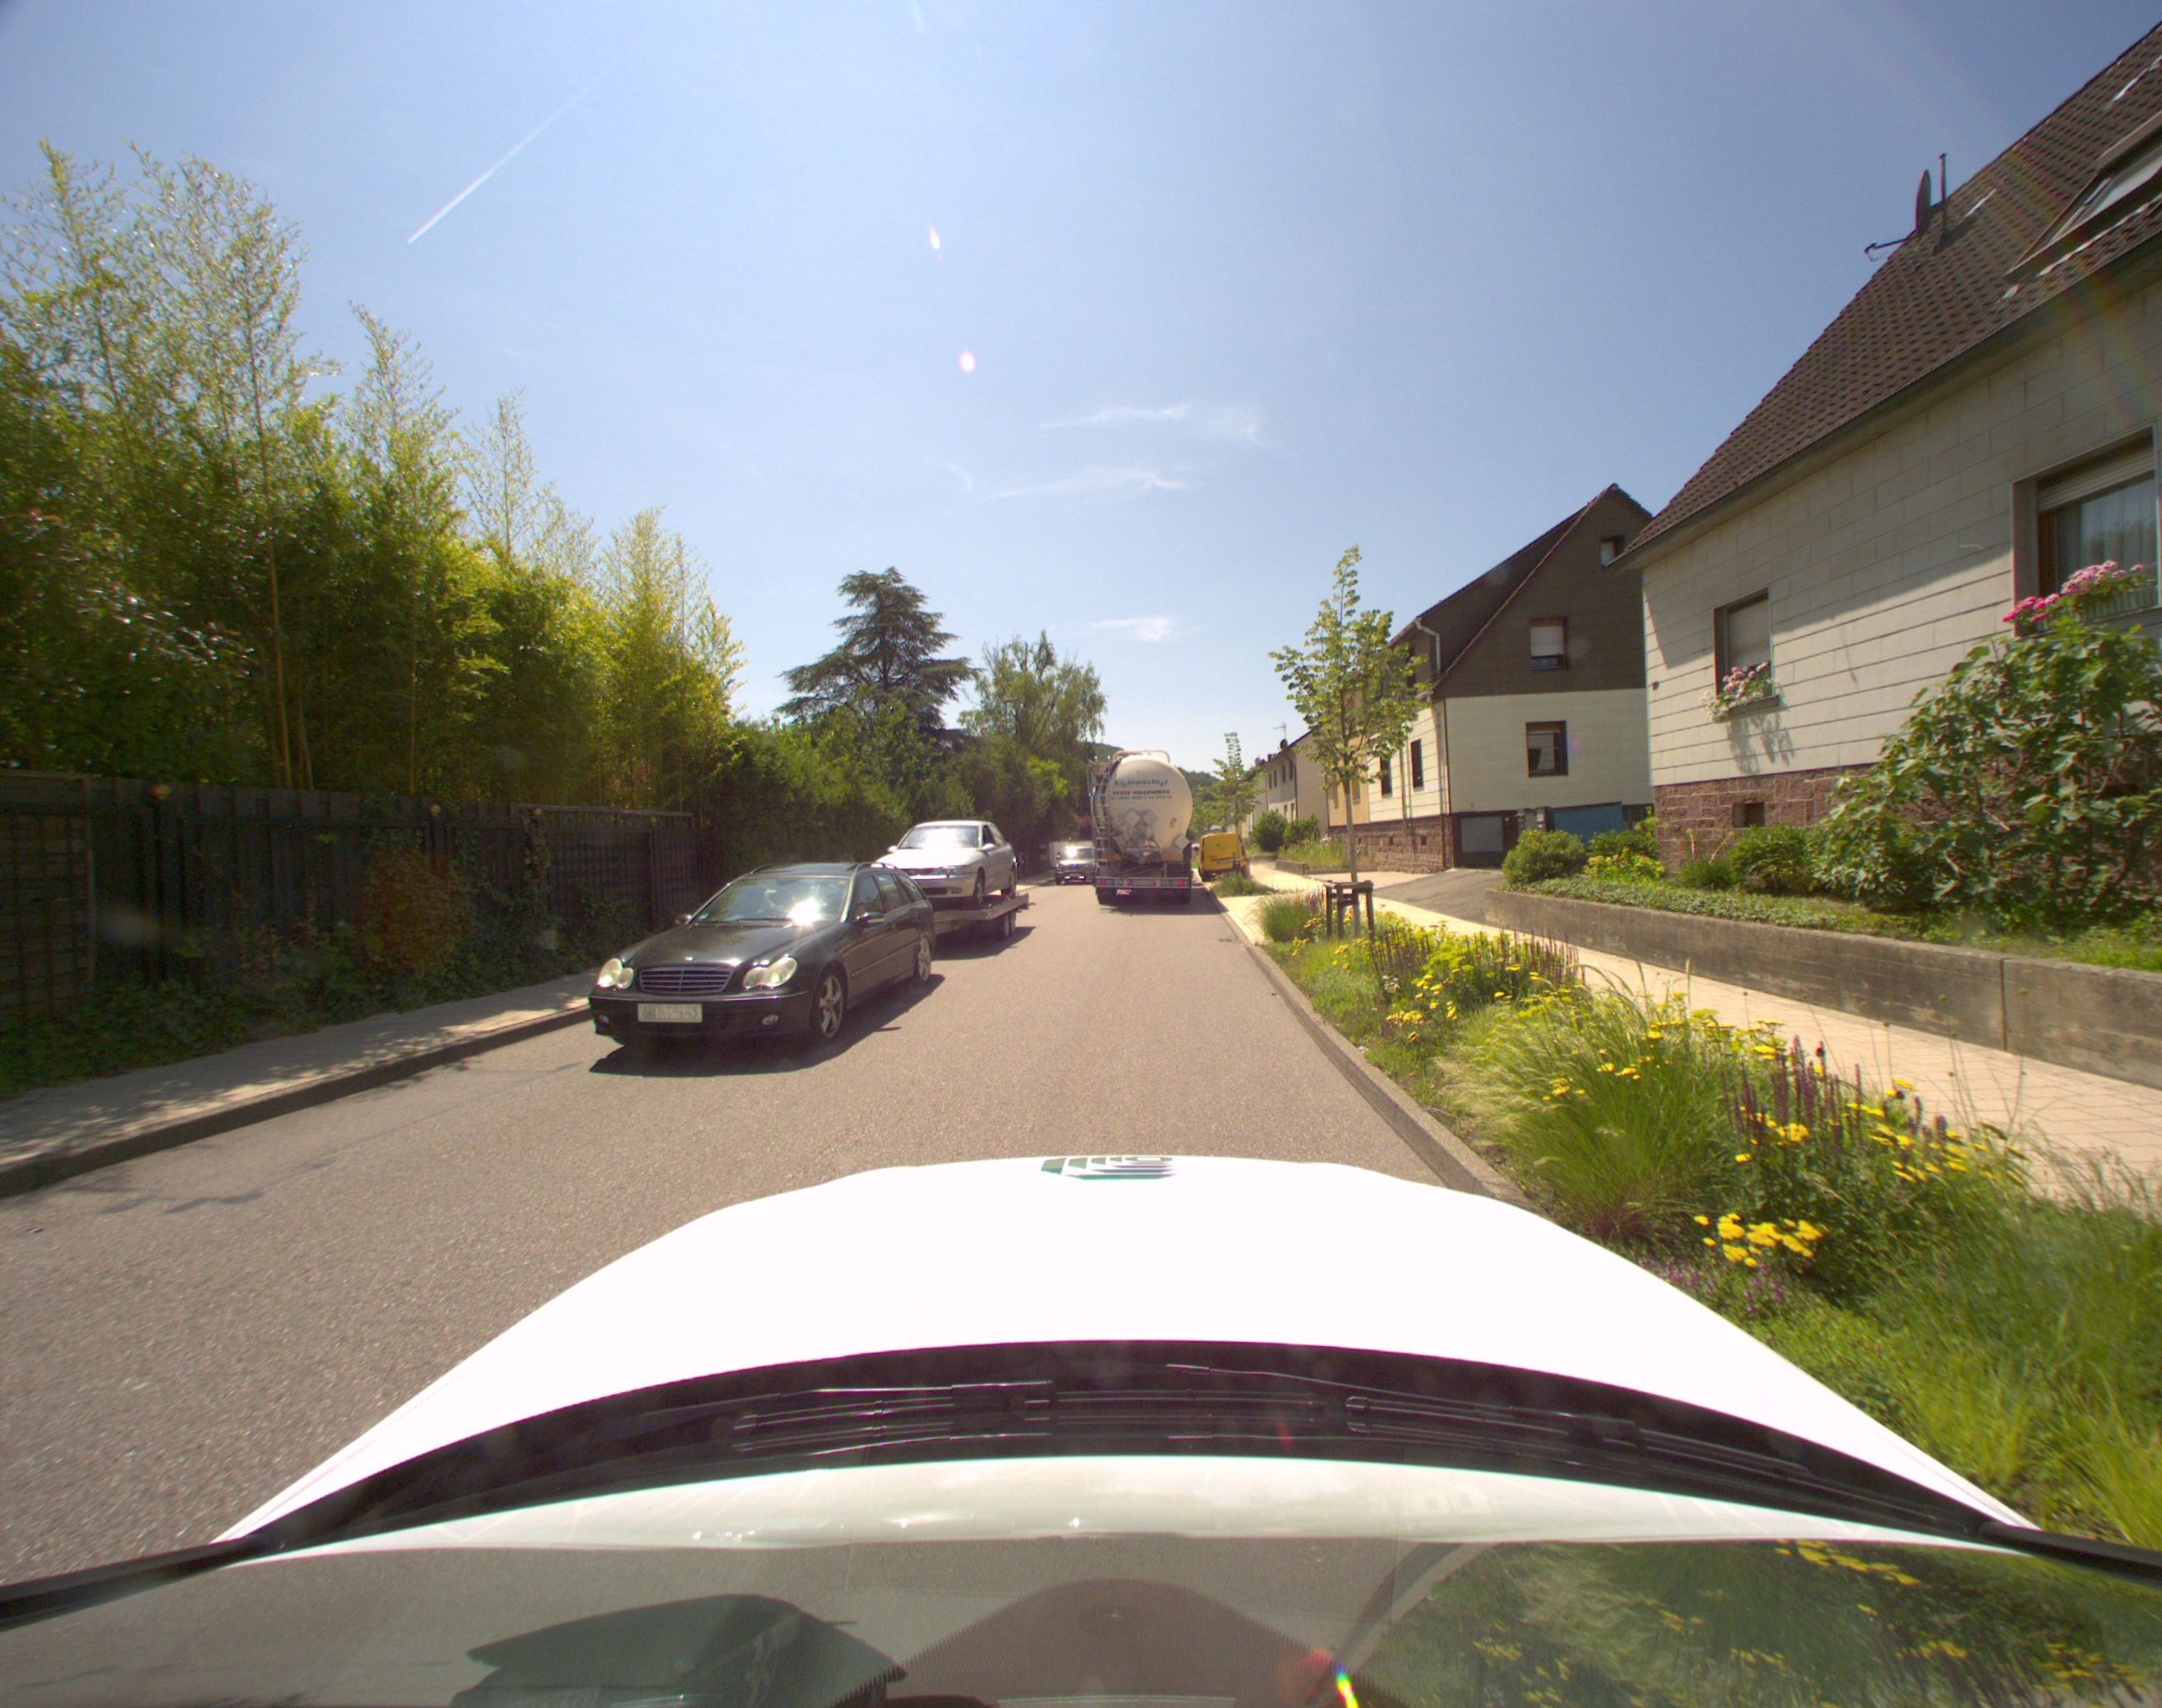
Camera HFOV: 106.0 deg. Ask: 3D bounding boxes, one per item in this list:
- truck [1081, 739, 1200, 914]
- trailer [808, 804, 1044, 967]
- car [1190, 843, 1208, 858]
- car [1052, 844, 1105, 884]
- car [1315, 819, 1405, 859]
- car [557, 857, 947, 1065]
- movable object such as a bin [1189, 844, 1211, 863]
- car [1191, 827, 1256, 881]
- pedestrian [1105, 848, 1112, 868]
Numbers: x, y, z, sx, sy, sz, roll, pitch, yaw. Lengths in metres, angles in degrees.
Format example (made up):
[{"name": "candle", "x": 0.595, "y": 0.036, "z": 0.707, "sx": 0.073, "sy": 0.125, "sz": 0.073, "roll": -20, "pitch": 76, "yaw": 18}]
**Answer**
[{"name": "truck", "x": 2.048, "y": -0.692, "z": 24.622, "sx": 2.735, "sy": 4.056, "sz": 10.911, "roll": -1, "pitch": 0, "yaw": 7}, {"name": "trailer", "x": -2.054, "y": 0.405, "z": 13.095, "sx": 2.146, "sy": 1.987, "sz": 6.209, "roll": 0, "pitch": 0, "yaw": 4}, {"name": "car", "x": 13.027, "y": -0.372, "z": 90.114, "sx": 1.747, "sy": 1.418, "sz": 4.641, "roll": -4, "pitch": -1, "yaw": 6}, {"name": "car", "x": -0.055, "y": 0.386, "z": 35.542, "sx": 1.858, "sy": 1.652, "sz": 3.956, "roll": 0, "pitch": 1, "yaw": 6}, {"name": "car", "x": 14.415, "y": -0.768, "z": 42.297, "sx": 3.970, "sy": 1.676, "sz": 1.876, "roll": -5, "pitch": 0, "yaw": 3}, {"name": "car", "x": -2.680, "y": 0.758, "z": 7.857, "sx": 1.758, "sy": 1.402, "sz": 4.253, "roll": 0, "pitch": 0, "yaw": 4}, {"name": "movable object such as a bin", "x": 9.555, "y": -0.022, "z": 65.665, "sx": 1.564, "sy": 1.416, "sz": 3.046, "roll": -3, "pitch": -1, "yaw": 6}, {"name": "car", "x": 6.202, "y": 0.023, "z": 36.086, "sx": 2.179, "sy": 2.013, "sz": 5.631, "roll": -6, "pitch": -1, "yaw": 5}, {"name": "pedestrian", "x": 2.790, "y": 0.399, "z": 82.956, "sx": 0.717, "sy": 2.014, "sz": 0.805, "roll": 0, "pitch": -1, "yaw": 5}]
